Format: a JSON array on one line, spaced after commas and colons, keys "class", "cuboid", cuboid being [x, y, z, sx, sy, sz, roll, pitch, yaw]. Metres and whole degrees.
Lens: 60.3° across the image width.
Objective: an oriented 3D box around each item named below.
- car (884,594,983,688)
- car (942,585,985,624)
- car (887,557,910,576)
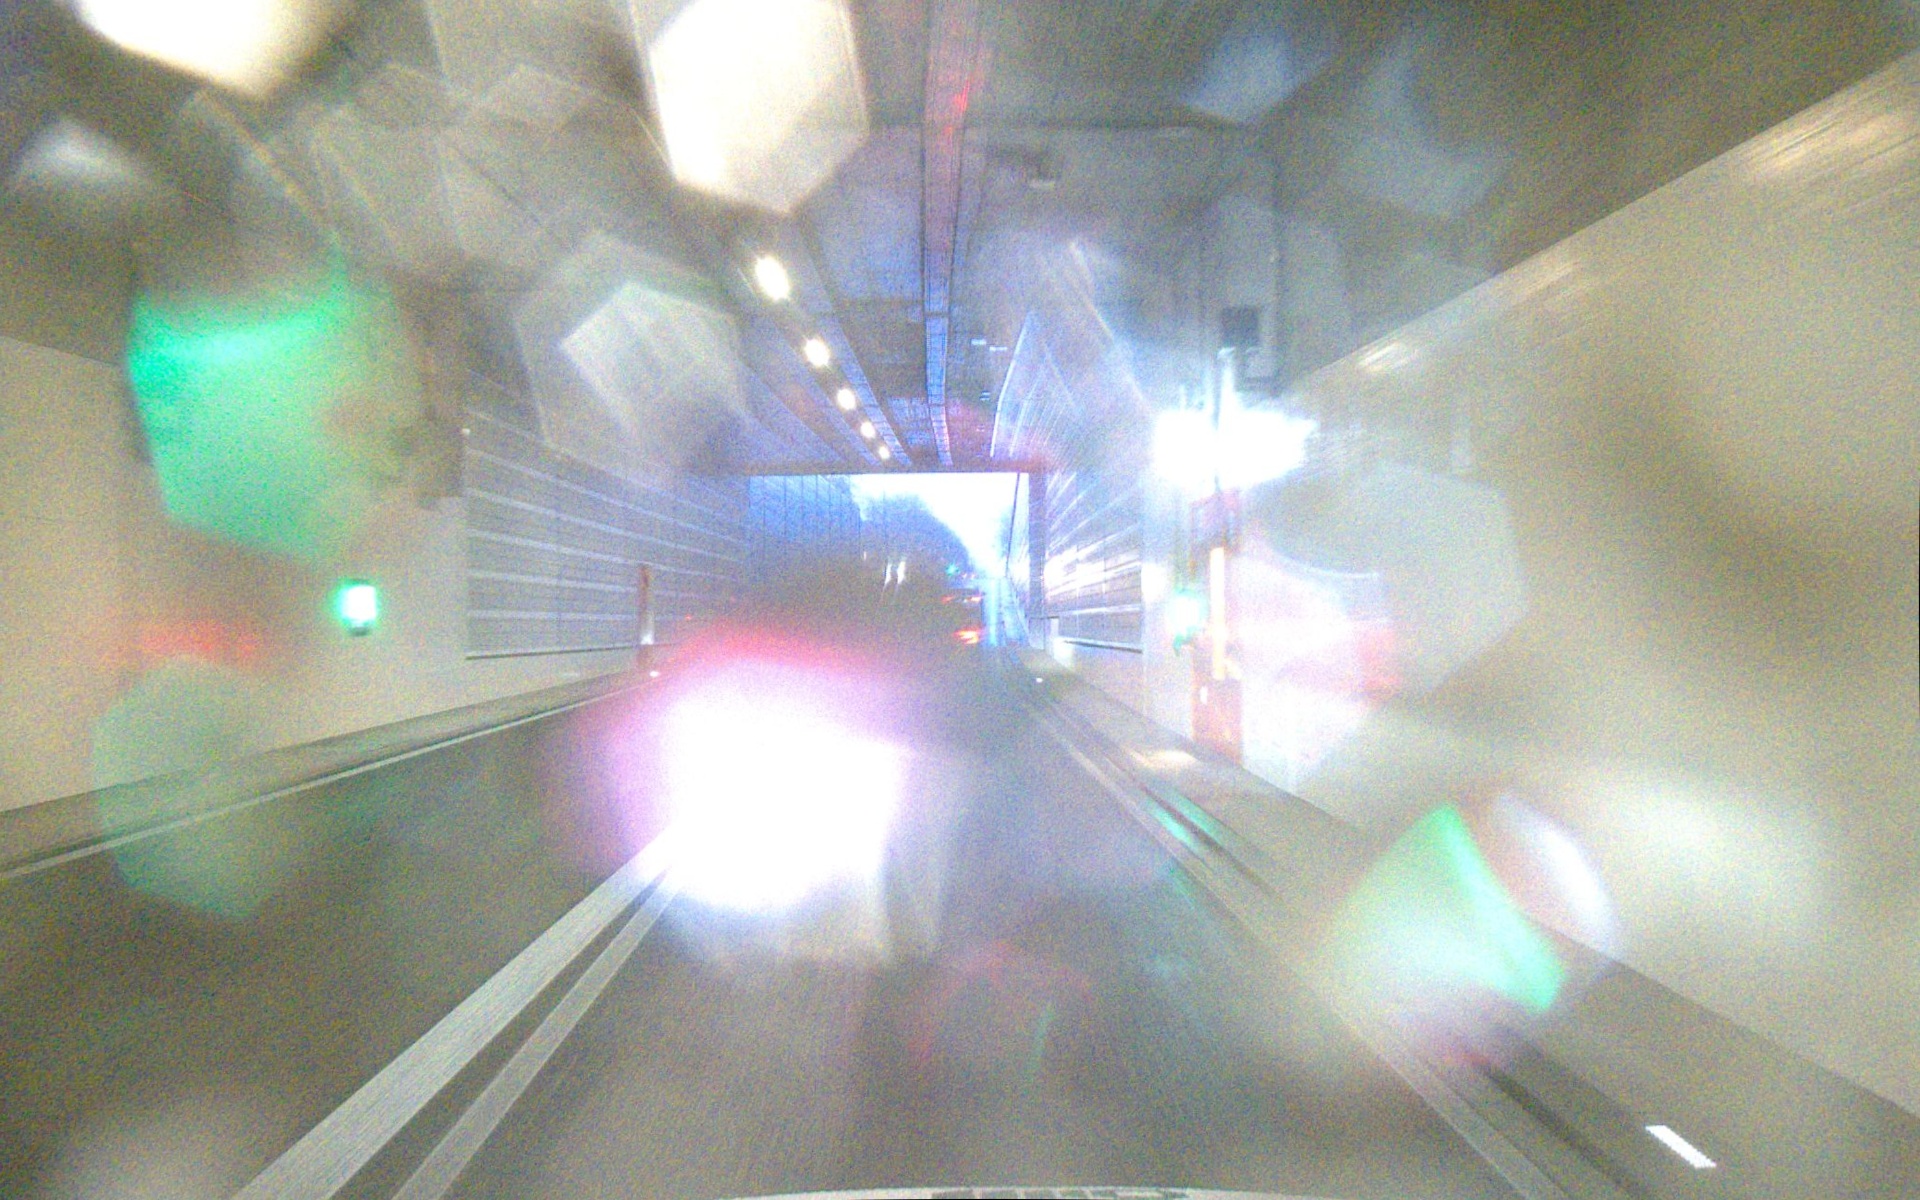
[{"class": "car", "cuboid": [-0.457, 0.643, 27.212, 1.501, 1.422, 3.432, 1, 0, -2]}, {"class": "car", "cuboid": [0.151, 0.216, 74.475, 1.842, 1.649, 3.999, 1, -1, -1]}, {"class": "car", "cuboid": [-5.832, -3.177, 157.677, 1.841, 1.649, 4.000, 1, -1, 2]}]
